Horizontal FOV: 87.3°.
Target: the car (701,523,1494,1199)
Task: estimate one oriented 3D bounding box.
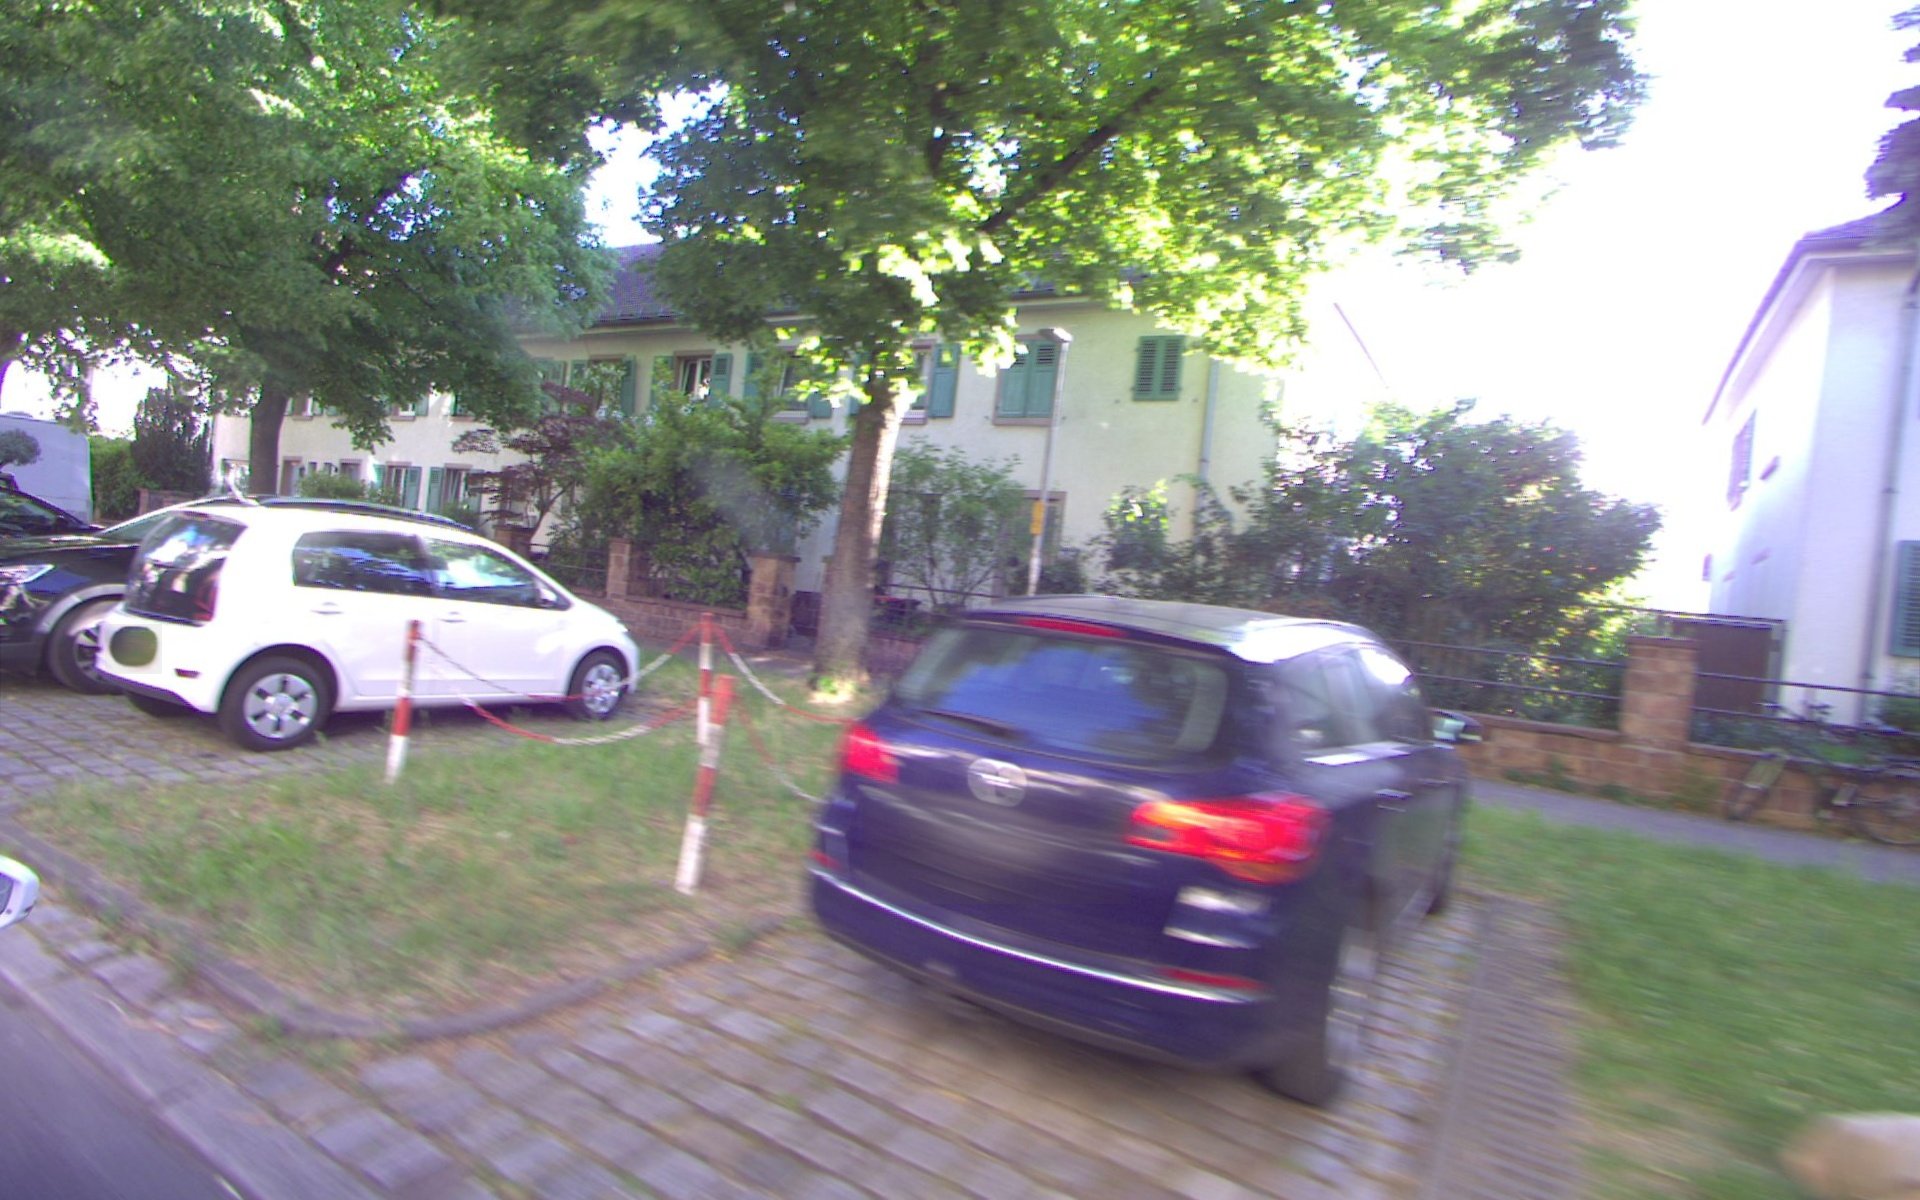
[{"bbox_3d":[1.110,0.754,4.349,1.664,1.619,4.225,5,-1,33],"label":"car"}]

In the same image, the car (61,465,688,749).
[{"bbox_3d":[-4.173,0.104,7.767,1.664,1.619,3.775,5,-1,33],"label":"car"}]

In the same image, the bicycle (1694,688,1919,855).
[{"bbox_3d":[7.461,1.447,8.589,1.789,1.143,0.564,6,2,32],"label":"bicycle"}]

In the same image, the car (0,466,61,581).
[{"bbox_3d":[-15.581,-1.228,14.128,1.613,1.672,4.084,6,3,29],"label":"car"}]

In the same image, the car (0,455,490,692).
[{"bbox_3d":[-6.482,-0.141,8.589,1.675,1.619,4.141,5,-1,33],"label":"car"}]

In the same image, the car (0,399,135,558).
[{"bbox_3d":[-20.904,-2.657,19.483,2.422,3.017,7.153,6,2,29],"label":"car"}]

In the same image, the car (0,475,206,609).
[{"bbox_3d":[-13.036,-0.842,13.619,1.674,1.619,4.145,5,-1,29],"label":"car"}]

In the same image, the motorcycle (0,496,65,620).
[{"bbox_3d":[-9.741,-0.480,9.600,1.588,1.155,0.668,6,1,-26],"label":"motorcycle"}]
